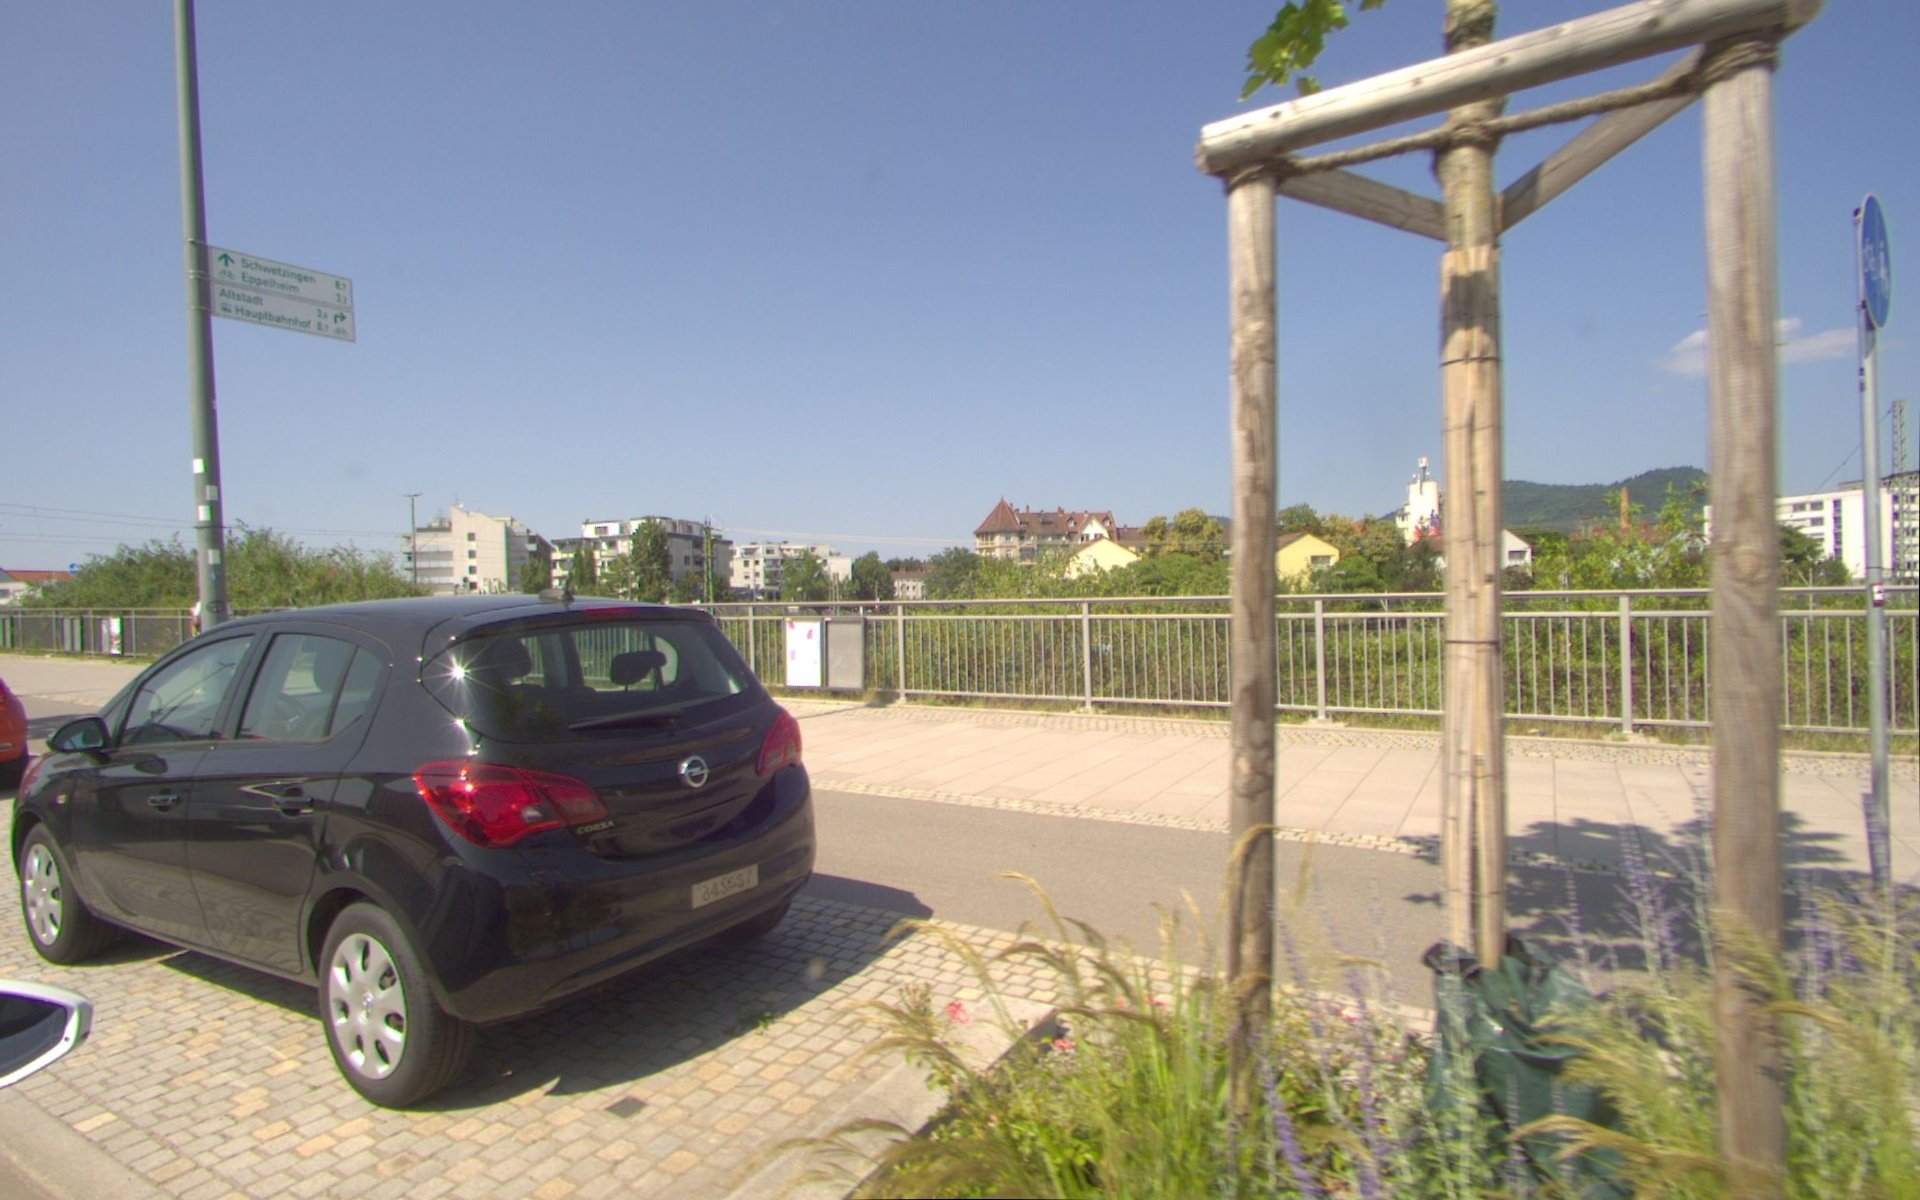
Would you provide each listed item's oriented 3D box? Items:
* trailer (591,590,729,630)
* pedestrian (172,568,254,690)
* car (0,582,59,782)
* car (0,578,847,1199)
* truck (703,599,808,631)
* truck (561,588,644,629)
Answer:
[{"bbox_3d":[-28.044,1.149,95.355,3.674,3.244,17.242,-1,-2,17],"label":"trailer"},{"bbox_3d":[-11.738,0.464,15.744,0.872,1.853,0.757,-1,-2,32],"label":"pedestrian"},{"bbox_3d":[-9.404,0.706,8.420,3.860,1.560,1.666,-2,1,32],"label":"car"},{"bbox_3d":[-2.351,0.745,4.161,3.495,1.577,1.577,0,2,32],"label":"car"},{"bbox_3d":[-22.772,1.863,113.673,3.674,3.244,17.875,-1,-2,17],"label":"truck"},{"bbox_3d":[-30.748,0.807,86.418,3.672,3.244,6.484,-1,-2,17],"label":"truck"}]
